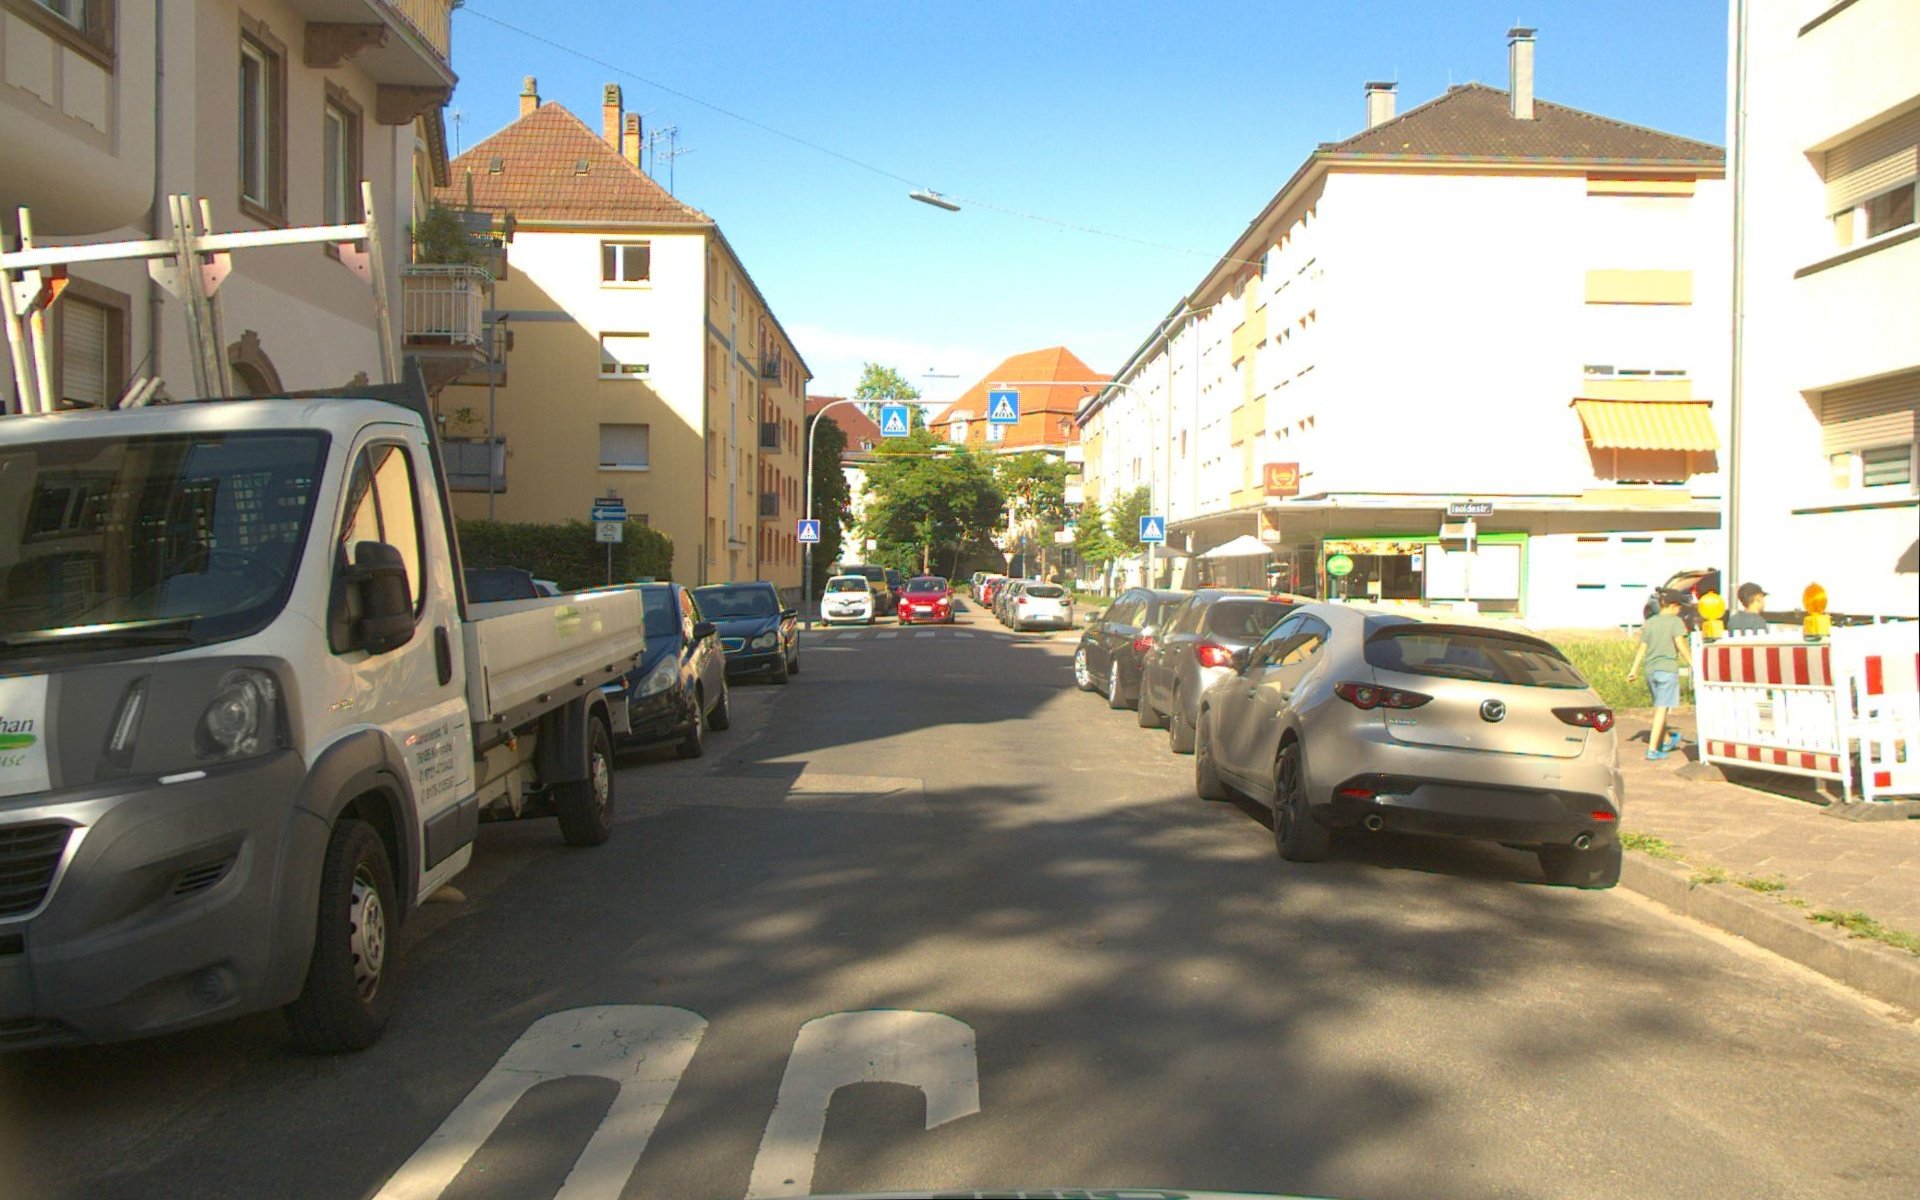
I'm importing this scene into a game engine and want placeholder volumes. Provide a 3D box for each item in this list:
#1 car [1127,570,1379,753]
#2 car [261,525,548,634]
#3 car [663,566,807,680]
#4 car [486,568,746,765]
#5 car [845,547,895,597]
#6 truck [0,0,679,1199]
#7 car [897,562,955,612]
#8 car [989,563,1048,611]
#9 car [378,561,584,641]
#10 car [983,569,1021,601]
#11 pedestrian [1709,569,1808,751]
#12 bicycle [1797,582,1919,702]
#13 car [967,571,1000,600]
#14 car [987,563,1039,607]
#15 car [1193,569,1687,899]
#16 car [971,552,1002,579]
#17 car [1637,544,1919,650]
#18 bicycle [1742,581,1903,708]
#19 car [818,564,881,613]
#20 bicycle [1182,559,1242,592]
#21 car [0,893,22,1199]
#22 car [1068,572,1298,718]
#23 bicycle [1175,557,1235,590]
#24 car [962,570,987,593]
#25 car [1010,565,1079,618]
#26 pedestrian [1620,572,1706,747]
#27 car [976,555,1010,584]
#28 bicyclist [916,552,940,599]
[{"bbox_3d":[2.705,0.524,16.110,1.612,1.485,3.938,3,0,-1],"label":"car"},{"bbox_3d":[-9.276,-0.327,27.844,4.396,1.643,1.769,2,1,-19],"label":"car"},{"bbox_3d":[-3.193,0.296,24.164,1.670,1.440,4.372,-2,0,-3],"label":"car"},{"bbox_3d":[-2.898,0.504,14.729,1.612,1.440,4.078,-2,0,-3],"label":"car"},{"bbox_3d":[-3.469,-1.072,64.341,1.663,1.810,4.098,2,1,-1],"label":"car"},{"bbox_3d":[-3.014,-0.067,7.425,2.214,3.037,7.273,-6,1,-2],"label":"truck"},{"bbox_3d":[-1.100,-0.414,52.149,1.664,1.466,3.416,2,1,-4],"label":"car"},{"bbox_3d":[1.886,-0.438,53.950,1.656,1.466,3.417,2,1,-2],"label":"car"},{"bbox_3d":[-9.754,0.019,33.742,3.918,1.505,1.586,2,1,-19],"label":"car"},{"bbox_3d":[2.022,-0.727,80.491,1.604,1.466,3.418,2,1,-2],"label":"car"},{"bbox_3d":[6.556,0.478,13.593,0.462,1.458,0.575,0,1,-15],"label":"pedestrian"},{"bbox_3d":[9.022,0.386,16.386,0.436,1.080,1.898,-3,1,0],"label":"bicycle"},{"bbox_3d":[1.289,-0.810,91.384,1.604,1.466,3.418,2,1,-2],"label":"car"},{"bbox_3d":[1.899,-0.555,59.815,1.605,1.466,3.417,2,1,-2],"label":"car"},{"bbox_3d":[2.738,0.669,10.541,1.756,1.496,4.339,6,0,0],"label":"car"},{"bbox_3d":[1.524,-1.978,95.856,1.604,1.466,3.418,2,1,-2],"label":"car"},{"bbox_3d":[14.119,-0.060,28.476,4.153,1.641,1.825,2,1,5],"label":"car"},{"bbox_3d":[8.518,0.407,16.420,0.548,1.139,1.898,-3,1,0],"label":"bicycle"},{"bbox_3d":[-3.525,-0.403,53.408,1.755,1.506,4.099,1,1,-1],"label":"car"},{"bbox_3d":[8.038,-0.792,52.759,1.774,0.984,0.672,2,0,-11],"label":"bicycle"},{"bbox_3d":[-2.654,0.815,0.908,1.756,1.567,4.639,-4,2,-3],"label":"car"},{"bbox_3d":[2.648,0.495,20.853,1.818,1.550,4.772,3,0,-5],"label":"car"},{"bbox_3d":[7.916,-0.861,53.385,1.774,0.984,0.672,2,0,-11],"label":"bicycle"},{"bbox_3d":[0.985,-1.289,115.059,1.604,1.466,3.418,2,1,-2],"label":"car"},{"bbox_3d":[2.467,-0.272,49.246,1.807,1.466,3.418,2,1,-1],"label":"car"},{"bbox_3d":[6.032,0.493,14.196,0.444,1.458,0.503,0,1,-27],"label":"pedestrian"},{"bbox_3d":[1.703,-1.627,86.609,1.604,1.465,3.418,0,2,-2],"label":"car"},{"bbox_3d":[-1.130,-0.878,58.897,0.769,1.649,0.956,0,1,4],"label":"bicyclist"}]
